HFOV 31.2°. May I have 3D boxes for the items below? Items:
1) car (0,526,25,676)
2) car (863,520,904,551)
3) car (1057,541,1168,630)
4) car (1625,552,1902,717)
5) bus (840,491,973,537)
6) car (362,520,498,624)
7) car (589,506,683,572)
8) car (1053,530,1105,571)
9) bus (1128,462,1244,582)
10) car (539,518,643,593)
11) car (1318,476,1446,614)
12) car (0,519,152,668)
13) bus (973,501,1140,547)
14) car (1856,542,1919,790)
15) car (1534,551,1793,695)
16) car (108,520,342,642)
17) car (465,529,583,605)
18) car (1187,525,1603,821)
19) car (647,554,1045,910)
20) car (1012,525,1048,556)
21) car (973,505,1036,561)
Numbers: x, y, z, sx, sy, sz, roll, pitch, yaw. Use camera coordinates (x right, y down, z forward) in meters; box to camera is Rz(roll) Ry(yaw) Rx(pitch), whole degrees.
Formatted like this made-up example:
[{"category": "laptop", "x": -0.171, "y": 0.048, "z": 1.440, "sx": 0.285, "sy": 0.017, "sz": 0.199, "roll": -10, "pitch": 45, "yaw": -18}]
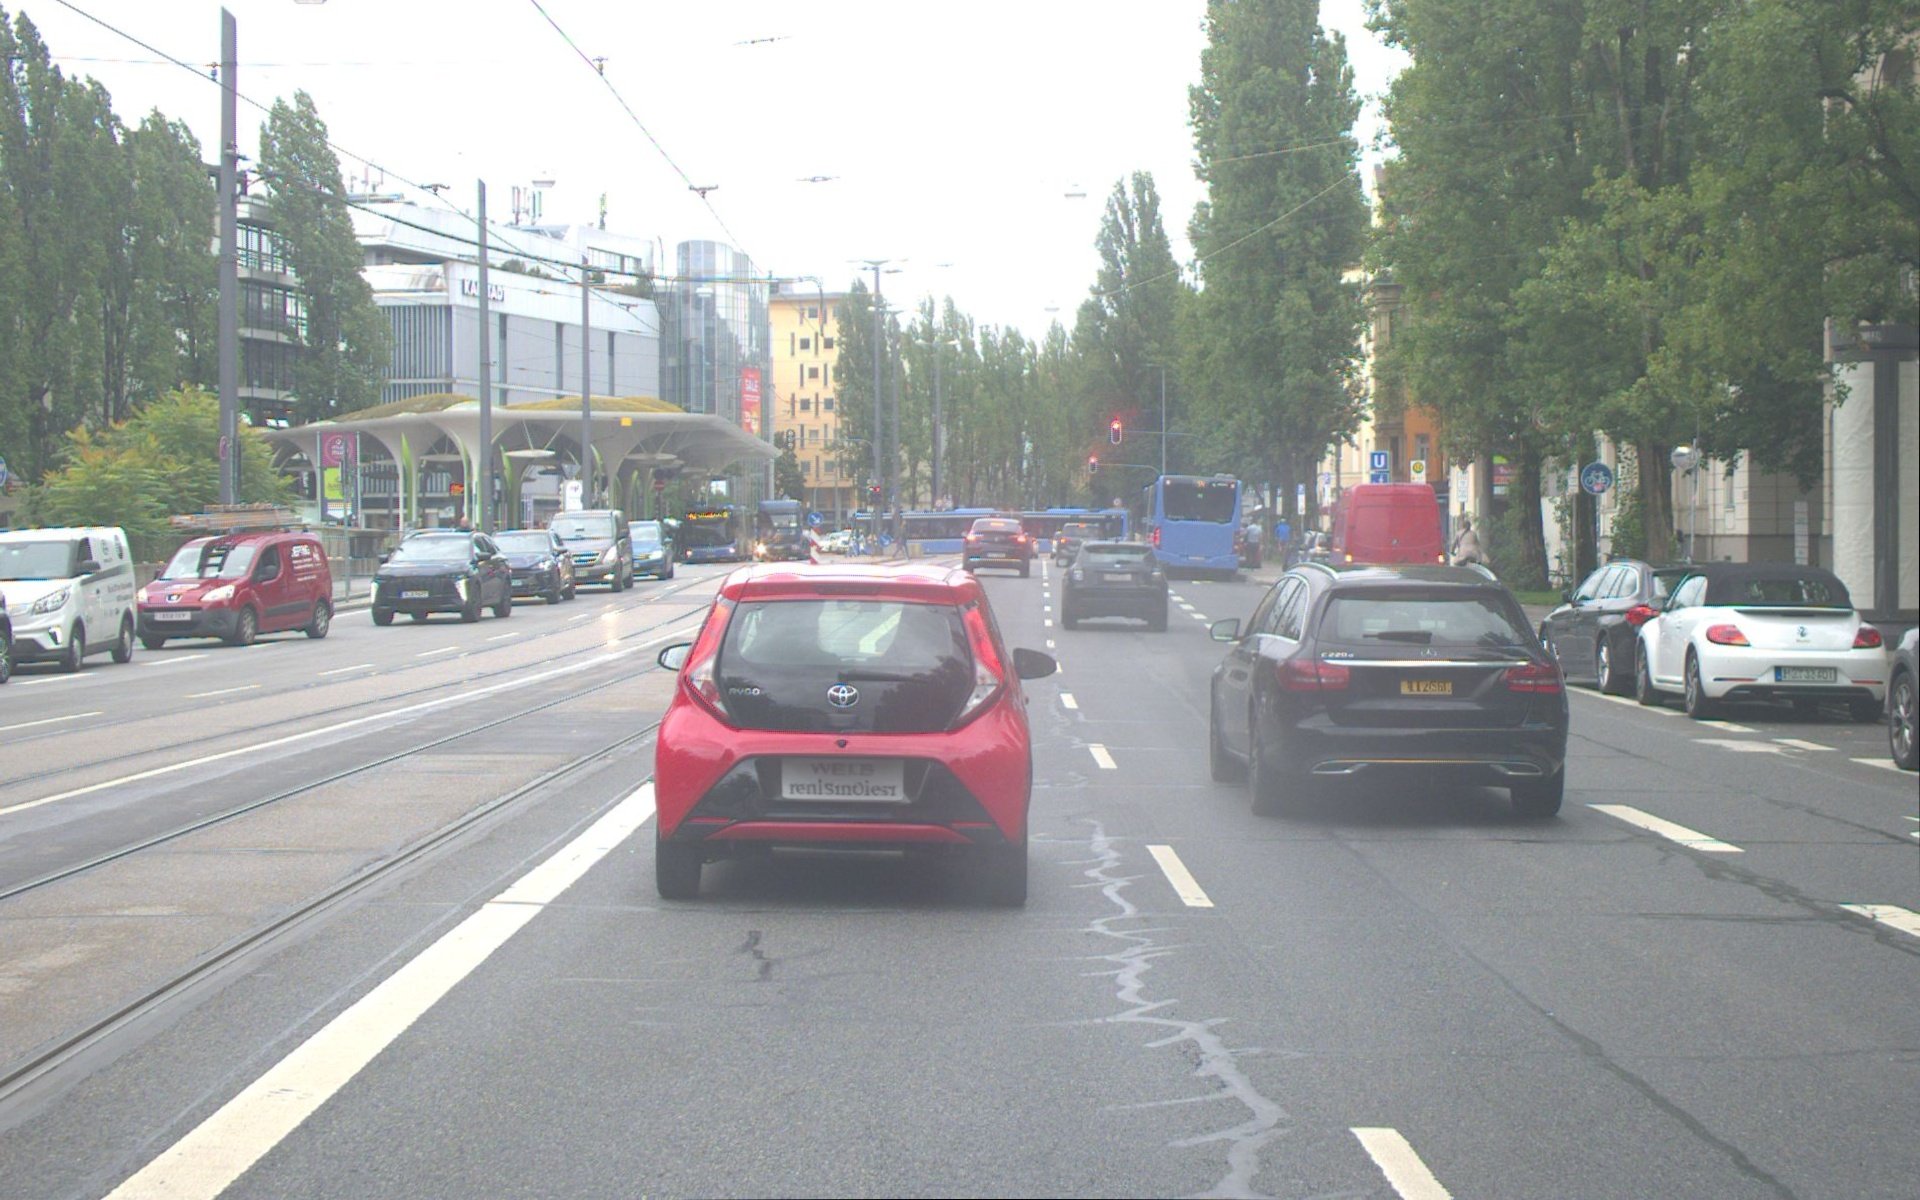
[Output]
[{"category": "car", "x": -12.323, "y": 0.063, "z": 39.542, "sx": 1.799, "sy": 1.782, "sz": 4.519, "roll": -2, "pitch": 1, "yaw": 1}, {"category": "car", "x": -3.612, "y": -3.057, "z": 162.982, "sx": 1.781, "sy": 1.481, "sz": 4.000, "roll": 0, "pitch": 1, "yaw": 1}, {"category": "car", "x": 2.609, "y": -0.277, "z": 59.451, "sx": 1.781, "sy": 1.481, "sz": 4.000, "roll": 0, "pitch": 1, "yaw": 1}, {"category": "car", "x": 7.743, "y": 0.291, "z": 33.480, "sx": 1.799, "sy": 1.503, "sz": 4.000, "roll": 0, "pitch": 1, "yaw": 1}, {"category": "bus", "x": -3.426, "y": -5.495, "z": 219.689, "sx": 8.466, "sy": 2.836, "sz": 2.000, "roll": 0, "pitch": 3, "yaw": -1}, {"category": "car", "x": -9.693, "y": -0.532, "z": 63.157, "sx": 1.799, "sy": 1.782, "sz": 4.519, "roll": -2, "pitch": 1, "yaw": -1}, {"category": "car", "x": -8.720, "y": -1.642, "z": 92.802, "sx": 1.799, "sy": 1.659, "sz": 4.518, "roll": -2, "pitch": 1, "yaw": 3}, {"category": "car", "x": 4.355, "y": -1.817, "z": 126.389, "sx": 1.781, "sy": 1.481, "sz": 4.000, "roll": 0, "pitch": 1, "yaw": 1}, {"category": "bus", "x": 6.841, "y": -2.479, "z": 105.543, "sx": 2.906, "sy": 3.384, "sz": 10.807, "roll": 0, "pitch": 3, "yaw": 1}, {"category": "car", "x": -8.693, "y": -1.066, "z": 81.306, "sx": 1.799, "sy": 1.659, "sz": 4.519, "roll": -2, "pitch": 1, "yaw": 1}, {"category": "car", "x": 8.336, "y": -1.139, "z": 68.276, "sx": 1.993, "sy": 2.565, "sz": 4.680, "roll": 0, "pitch": 3, "yaw": 1}, {"category": "car", "x": -12.274, "y": -0.103, "z": 45.922, "sx": 1.799, "sy": 1.855, "sz": 4.631, "roll": -2, "pitch": 1, "yaw": 0}, {"category": "bus", "x": 6.150, "y": -4.850, "z": 219.960, "sx": 10.554, "sy": 2.836, "sz": 2.001, "roll": 0, "pitch": 3, "yaw": -3}, {"category": "car", "x": 7.632, "y": 0.469, "z": 23.351, "sx": 1.799, "sy": 1.737, "sz": 4.701, "roll": 0, "pitch": 1, "yaw": -1}, {"category": "car", "x": 7.776, "y": 0.212, "z": 38.392, "sx": 1.799, "sy": 1.503, "sz": 4.451, "roll": 0, "pitch": 1, "yaw": -3}, {"category": "car", "x": -11.567, "y": -0.335, "z": 54.405, "sx": 1.800, "sy": 1.782, "sz": 4.516, "roll": -2, "pitch": 1, "yaw": 13}, {"category": "car", "x": -9.310, "y": -0.727, "z": 73.767, "sx": 1.799, "sy": 1.525, "sz": 4.519, "roll": -2, "pitch": 1, "yaw": 1}, {"category": "car", "x": 2.521, "y": 0.347, "z": 21.030, "sx": 1.863, "sy": 1.544, "sz": 4.704, "roll": -1, "pitch": 2, "yaw": -1}, {"category": "car", "x": -0.531, "y": 0.527, "z": 15.942, "sx": 1.628, "sy": 1.435, "sz": 3.377, "roll": 1, "pitch": 1, "yaw": -2}, {"category": "car", "x": 4.038, "y": -3.387, "z": 197.393, "sx": 1.804, "sy": 1.590, "sz": 3.999, "roll": 1, "pitch": -2, "yaw": 4}, {"category": "car", "x": 1.231, "y": -1.883, "z": 96.900, "sx": 1.736, "sy": 1.544, "sz": 4.576, "roll": 0, "pitch": 1, "yaw": 0}]
